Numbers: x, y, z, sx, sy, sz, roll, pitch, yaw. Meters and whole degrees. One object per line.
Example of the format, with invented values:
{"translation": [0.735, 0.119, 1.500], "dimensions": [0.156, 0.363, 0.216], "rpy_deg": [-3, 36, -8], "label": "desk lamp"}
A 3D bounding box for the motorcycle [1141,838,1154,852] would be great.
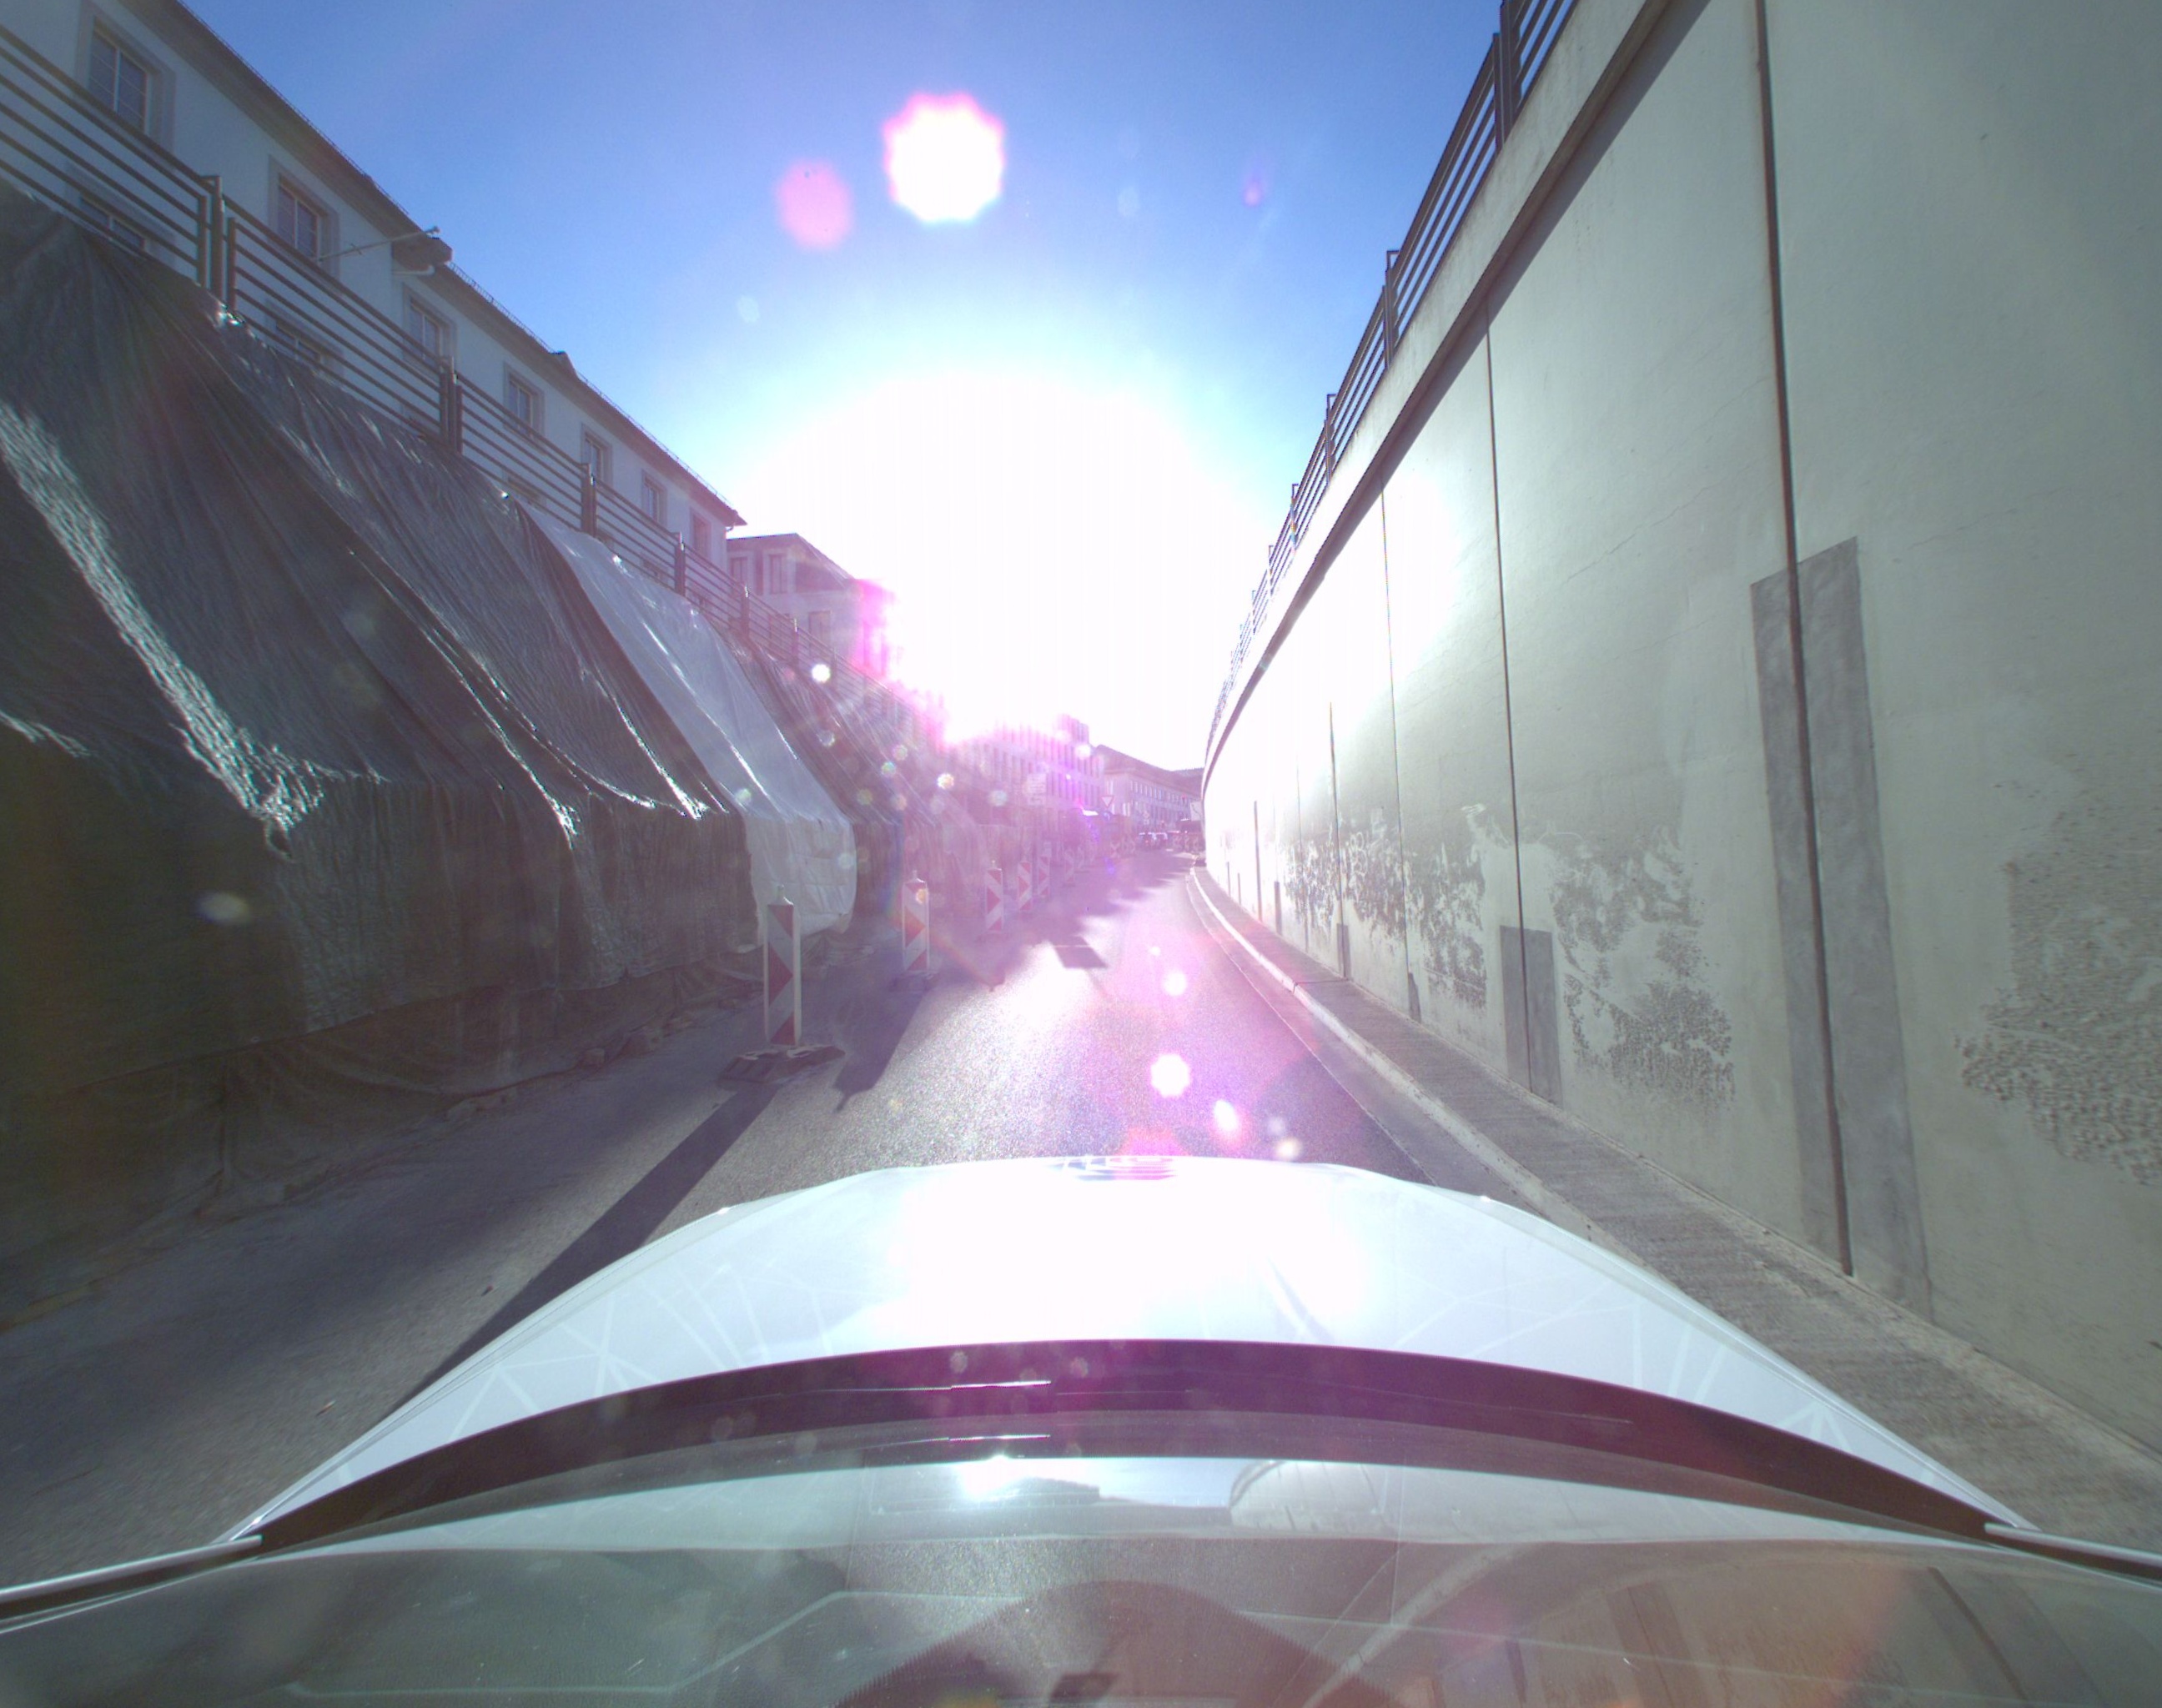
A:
{"translation": [5.256, -0.696, 64.721], "dimensions": [0.766, 0.993, 2.190], "rpy_deg": [-1, -2, 11], "label": "motorcycle"}

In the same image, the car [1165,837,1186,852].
{"translation": [9.950, -1.005, 85.480], "dimensions": [1.845, 1.533, 4.013], "rpy_deg": [-1, 0, 11], "label": "car"}

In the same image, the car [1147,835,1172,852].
{"translation": [7.546, -0.991, 77.811], "dimensions": [1.808, 1.533, 4.015], "rpy_deg": [-1, 0, 14], "label": "car"}

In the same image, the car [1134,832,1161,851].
{"translation": [5.868, -1.076, 71.641], "dimensions": [1.764, 1.604, 4.014], "rpy_deg": [-1, 0, 13], "label": "car"}

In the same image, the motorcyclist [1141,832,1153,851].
{"translation": [5.272, -0.978, 64.847], "dimensions": [0.799, 1.504, 0.779], "rpy_deg": [-1, -3, 11], "label": "motorcyclist"}

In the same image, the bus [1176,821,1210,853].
{"translation": [9.443, -1.413, 68.293], "dimensions": [2.208, 2.557, 4.446], "rpy_deg": [-1, 1, 16], "label": "bus"}
